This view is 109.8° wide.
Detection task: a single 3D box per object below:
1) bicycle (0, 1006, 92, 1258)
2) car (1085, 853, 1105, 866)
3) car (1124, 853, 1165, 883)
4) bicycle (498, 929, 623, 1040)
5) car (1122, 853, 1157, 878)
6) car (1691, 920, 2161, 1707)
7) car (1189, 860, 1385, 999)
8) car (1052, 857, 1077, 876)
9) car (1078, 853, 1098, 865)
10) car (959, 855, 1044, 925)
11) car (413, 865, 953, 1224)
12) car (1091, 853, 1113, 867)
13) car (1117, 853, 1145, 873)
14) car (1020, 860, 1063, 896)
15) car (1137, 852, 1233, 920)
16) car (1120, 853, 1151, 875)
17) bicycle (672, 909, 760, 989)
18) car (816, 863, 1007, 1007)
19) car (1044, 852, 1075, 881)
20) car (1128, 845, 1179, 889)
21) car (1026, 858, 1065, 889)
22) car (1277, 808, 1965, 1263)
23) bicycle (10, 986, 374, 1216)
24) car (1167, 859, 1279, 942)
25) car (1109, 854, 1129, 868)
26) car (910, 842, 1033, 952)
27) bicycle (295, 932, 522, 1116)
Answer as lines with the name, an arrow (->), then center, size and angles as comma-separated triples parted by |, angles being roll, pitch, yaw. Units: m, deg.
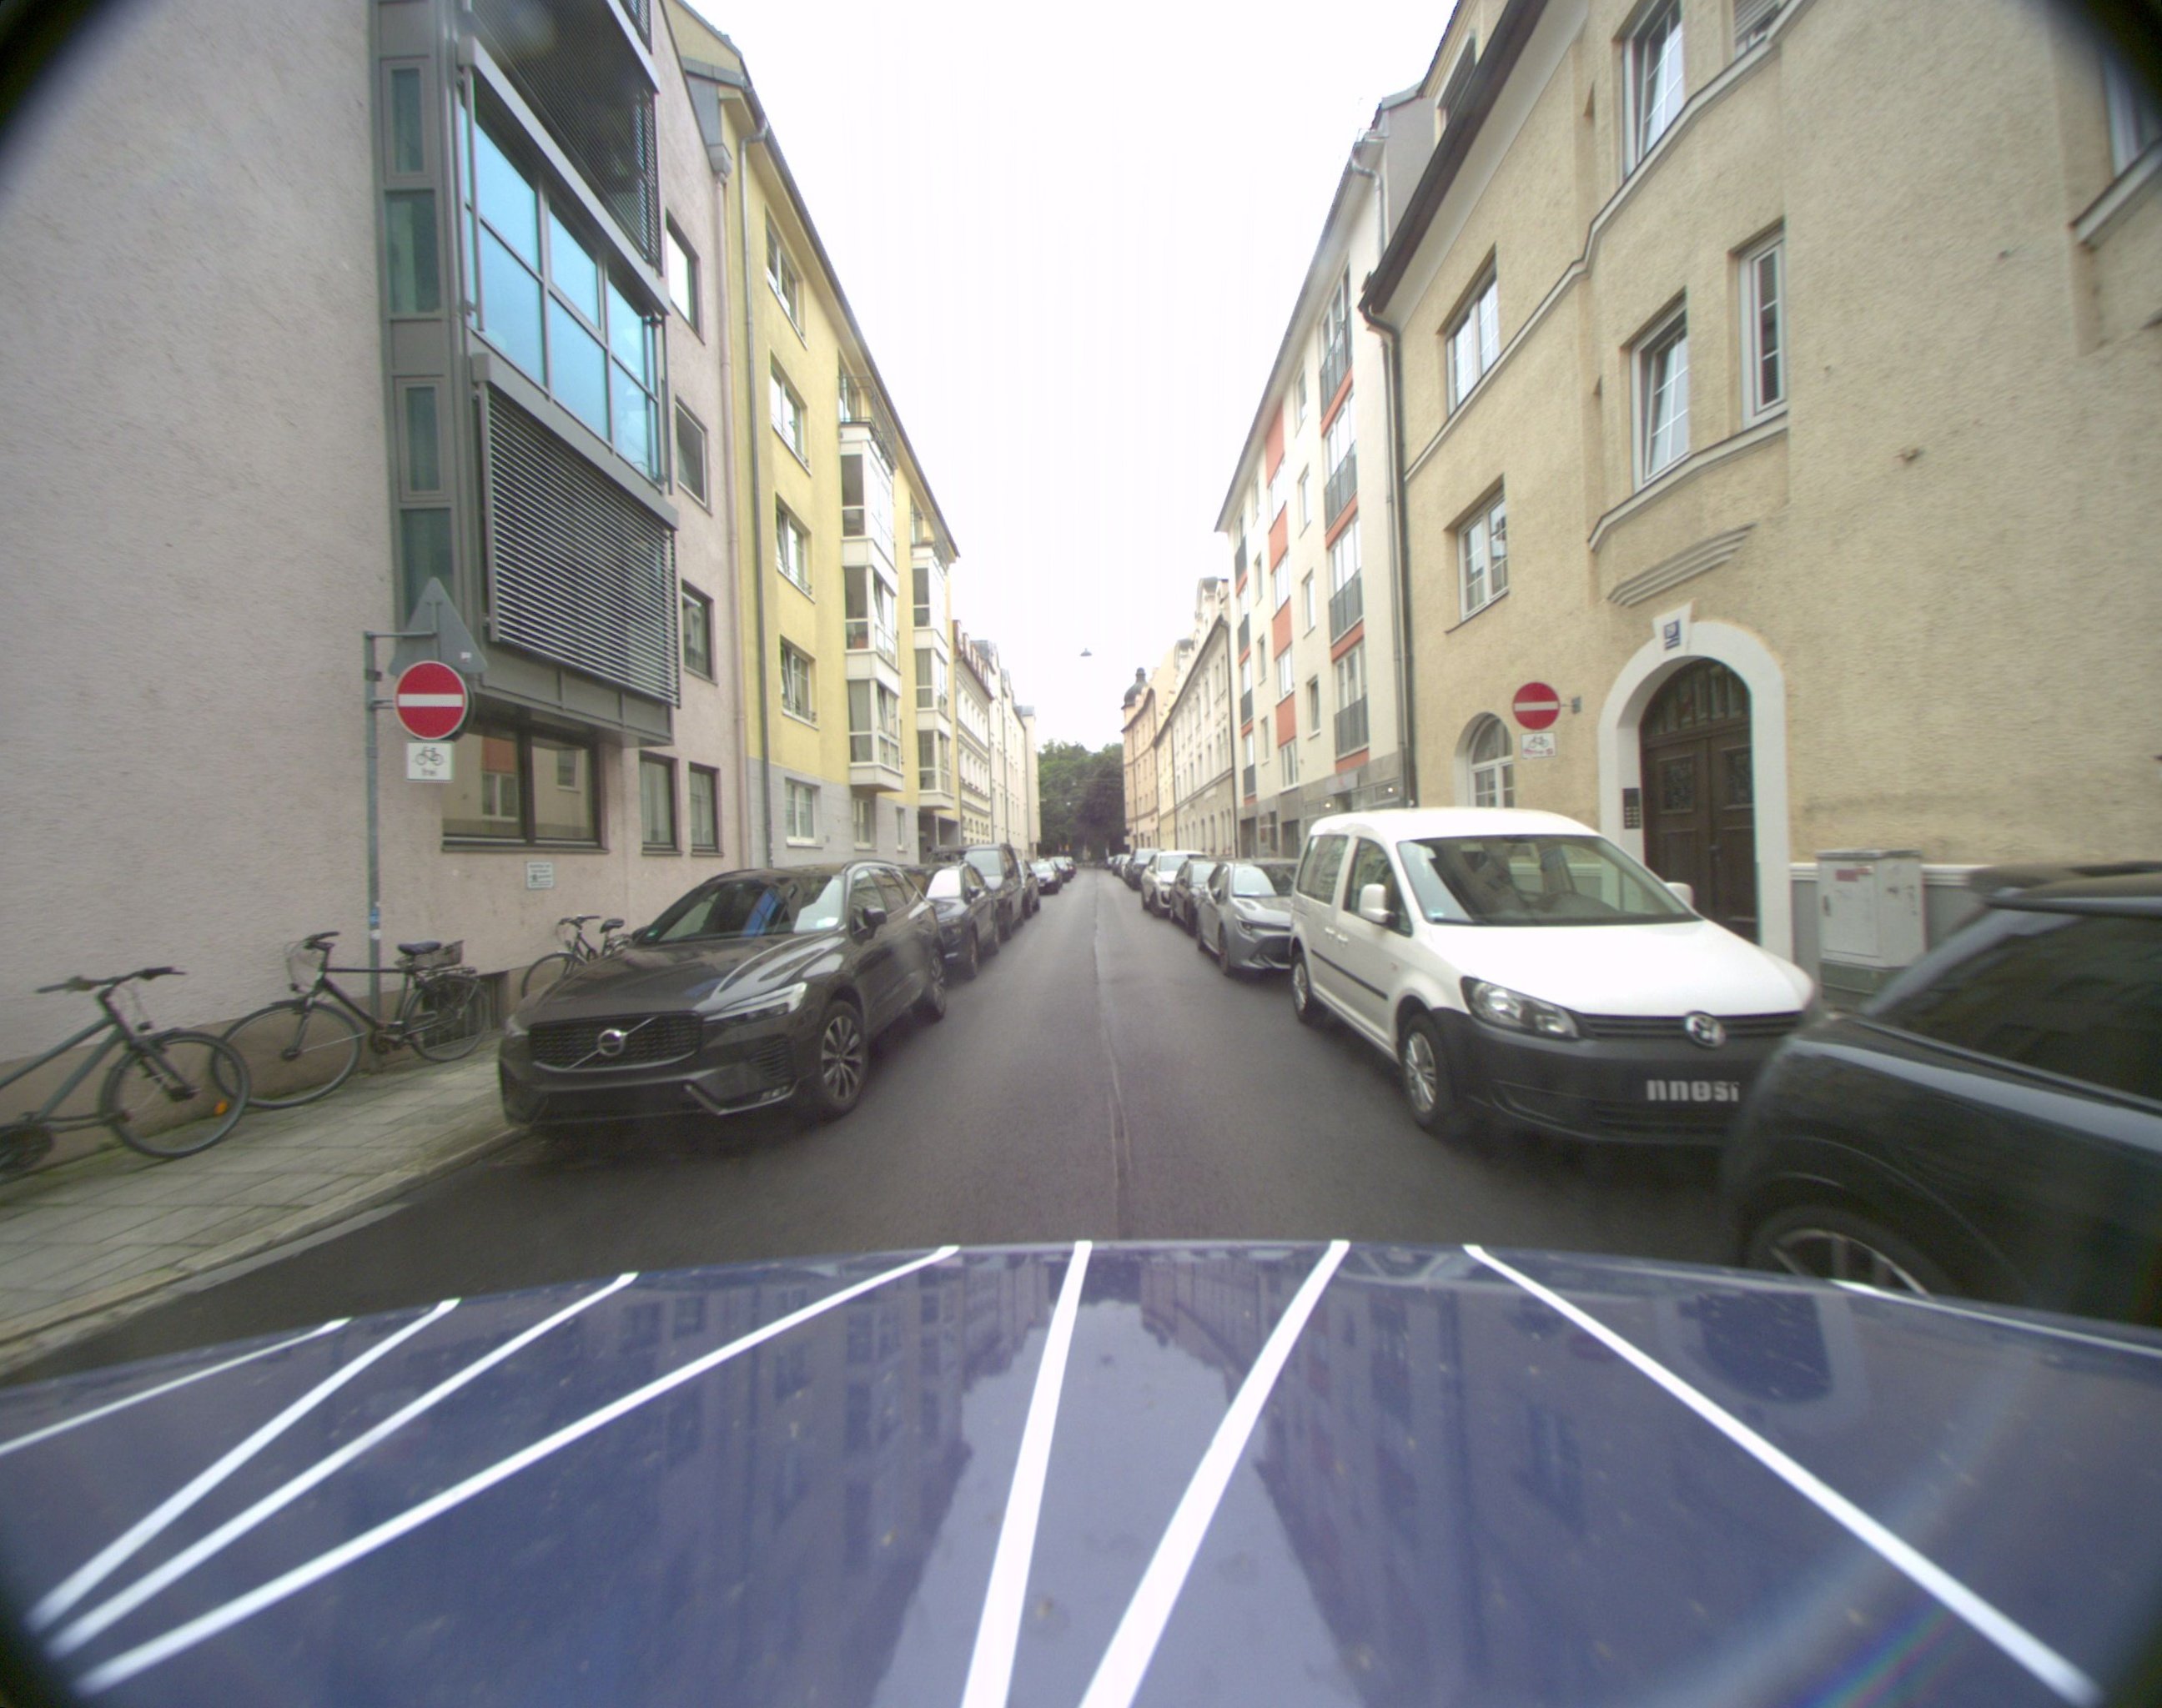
bicycle -> -5.354, 1.339, 3.193 | 0.552, 1.119, 1.357 | -2, 0, 2
car -> 1.693, 0.626, 92.648 | 1.800, 1.501, 3.996 | 0, 0, -10
car -> 3.316, 0.718, 40.461 | 1.951, 1.470, 3.716 | 0, 0, 1
bicycle -> -5.391, 1.320, 7.946 | 0.358, 0.942, 1.269 | -2, 0, 2
car -> 3.544, 0.689, 46.739 | 1.951, 1.470, 3.716 | 0, 0, 1
car -> 2.523, 0.924, 0.254 | 1.656, 1.403, 3.734 | 0, 1, 1
car -> 2.548, 0.853, 10.377 | 1.676, 1.467, 4.112 | 0, 0, 2
car -> -1.245, 0.959, 59.271 | 1.739, 1.297, 3.686 | -3, 0, 0
car -> 0.886, 0.634, 96.755 | 1.800, 1.501, 3.996 | 0, 0, -10
car -> -2.166, 0.945, 21.904 | 1.837, 1.676, 4.228 | -3, 0, 1
car -> -2.380, 1.004, 6.052 | 1.837, 1.612, 4.411 | -3, 1, 1
car -> 2.430, 0.660, 88.446 | 1.800, 1.501, 3.996 | 0, 0, -10
car -> 3.762, 0.639, 57.627 | 1.951, 1.470, 3.979 | 0, 0, 1
car -> -1.833, 1.052, 35.073 | 1.749, 1.433, 4.227 | -4, 0, -3
car -> 2.605, 0.766, 20.083 | 1.785, 1.596, 4.307 | 0, 0, -2
car -> 3.678, 0.650, 51.923 | 1.951, 1.470, 3.716 | 0, 0, 1
bicycle -> -5.229, 1.336, 10.981 | 0.442, 0.942, 1.576 | -2, 0, 2
car -> -2.331, 1.035, 11.645 | 1.837, 1.612, 4.323 | -3, 0, 0
car -> -1.371, 0.791, 49.524 | 1.739, 1.743, 3.686 | -3, 0, 0
car -> 3.244, 0.542, 34.826 | 1.951, 1.850, 4.908 | 0, 0, 1
car -> -1.778, 0.983, 39.485 | 1.739, 1.433, 3.686 | -3, 0, 0
car -> 2.639, 0.671, 5.105 | 1.728, 1.779, 4.249 | 0, 1, 3
bicycle -> -5.250, 1.403, 4.624 | 0.552, 0.942, 1.357 | -2, 0, 2
car -> 2.766, 0.851, 15.583 | 1.632, 1.466, 3.842 | 0, 0, 1
car -> 3.948, 0.699, 78.835 | 1.951, 1.470, 3.979 | 0, 0, 1
car -> -2.251, 0.778, 17.060 | 1.877, 2.002, 5.106 | -3, 1, 0
bicycle -> -5.276, 1.271, 6.088 | 0.358, 1.115, 1.543 | -2, 0, 2
